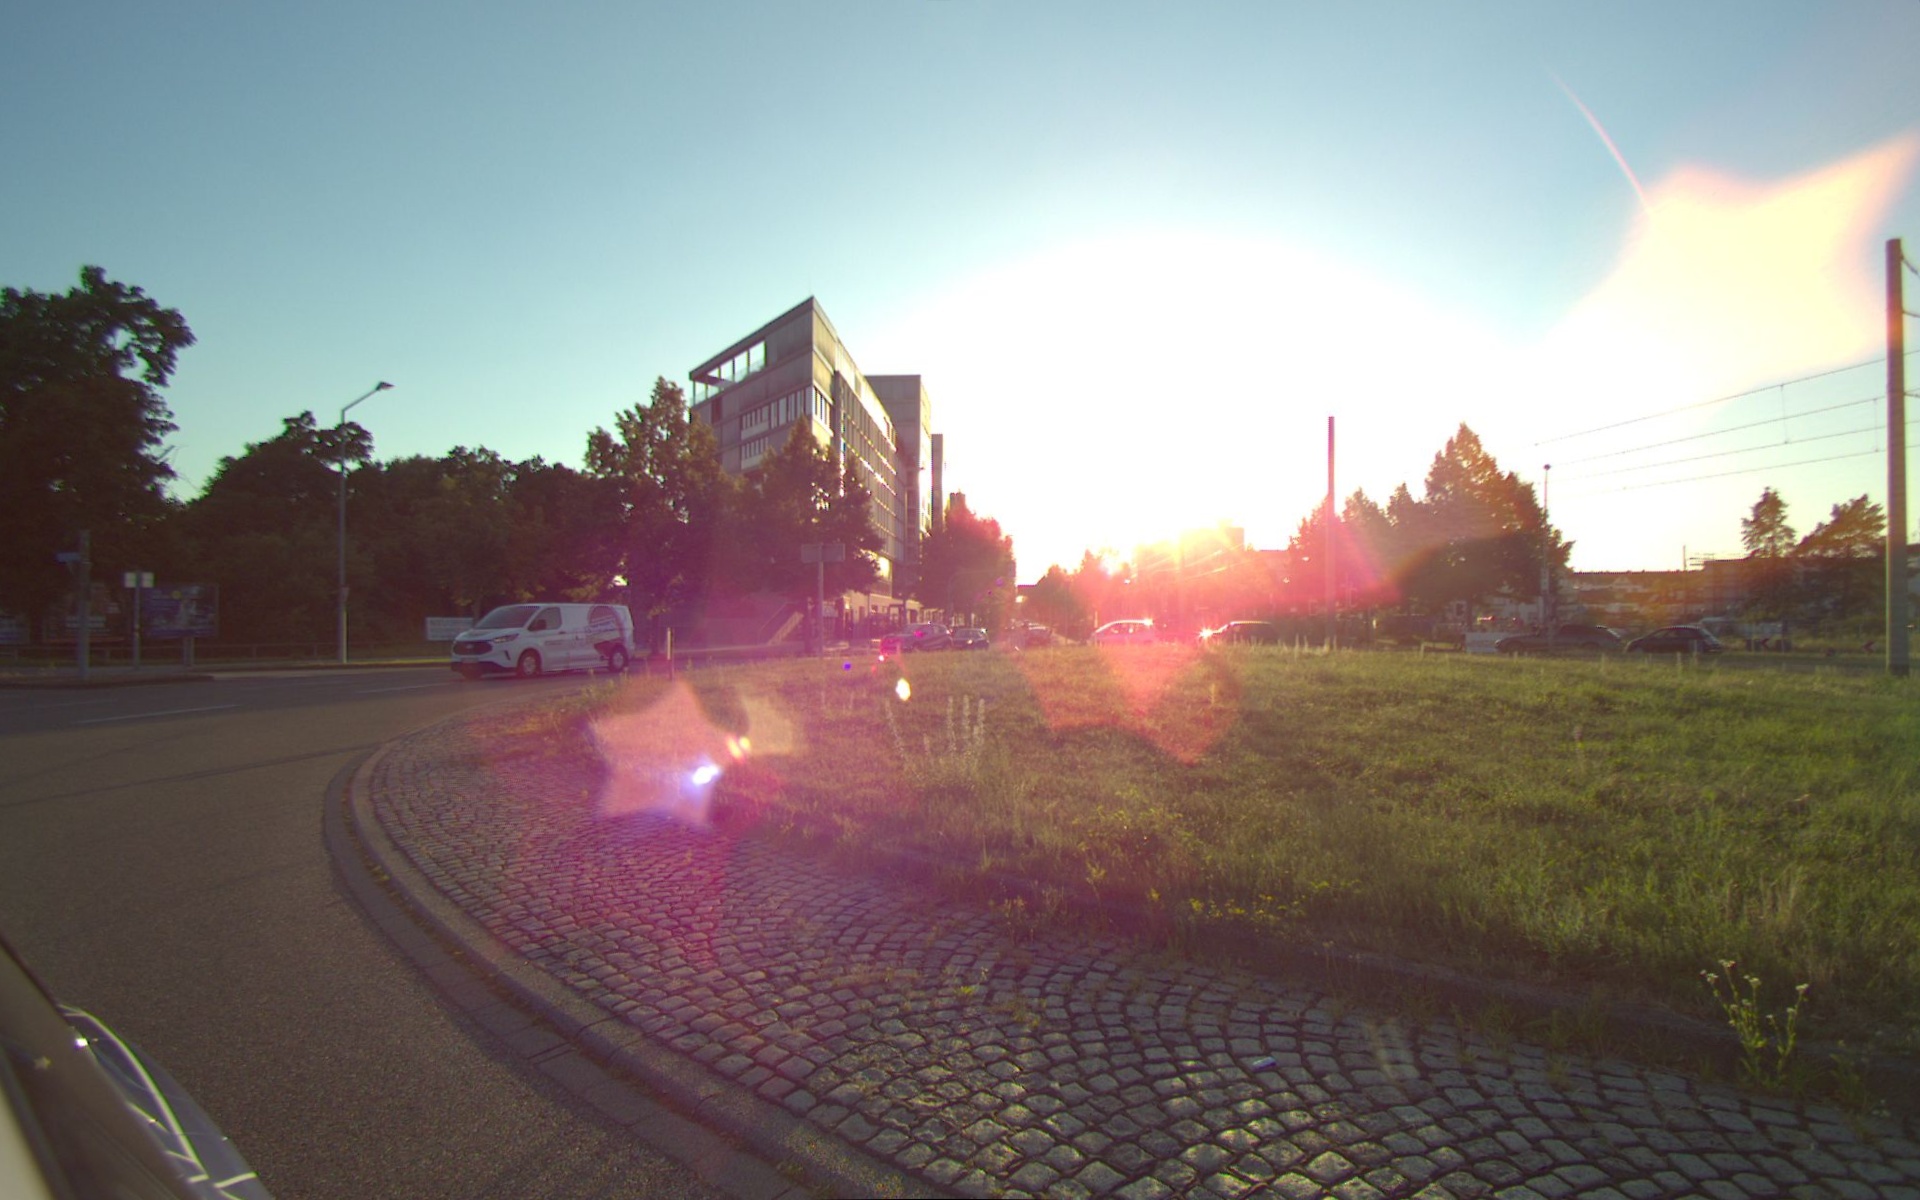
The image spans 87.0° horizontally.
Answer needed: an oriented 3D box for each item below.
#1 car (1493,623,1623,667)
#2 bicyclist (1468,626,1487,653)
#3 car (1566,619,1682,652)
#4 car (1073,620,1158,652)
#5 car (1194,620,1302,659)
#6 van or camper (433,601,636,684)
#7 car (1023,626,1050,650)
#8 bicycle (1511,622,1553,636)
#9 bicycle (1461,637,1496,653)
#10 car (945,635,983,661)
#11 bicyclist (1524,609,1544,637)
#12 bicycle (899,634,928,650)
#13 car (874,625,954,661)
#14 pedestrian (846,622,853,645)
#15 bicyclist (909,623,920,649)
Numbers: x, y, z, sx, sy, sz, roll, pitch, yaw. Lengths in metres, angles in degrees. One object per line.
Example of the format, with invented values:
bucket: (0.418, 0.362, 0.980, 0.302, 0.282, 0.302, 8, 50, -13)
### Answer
car: (25.446, 1.906, 43.163, 4.591, 1.761, 1.729, -2, -2, 38)
bicyclist: (32.022, 2.460, 62.644, 0.805, 1.653, 0.813, -1, -2, 7)
car: (30.721, 1.639, 46.943, 1.722, 1.457, 4.145, 1, -2, -34)
car: (7.270, 1.696, 47.506, 3.652, 1.476, 1.609, 0, -2, -7)
car: (13.553, 1.853, 47.816, 4.528, 1.761, 1.753, 0, -2, -4)
van or camper: (-11.154, 1.079, 27.039, 1.985, 1.972, 5.294, -1, -1, 20)
car: (5.422, 2.678, 71.551, 1.756, 1.633, 3.991, 0, -1, 7)
bicycle: (34.291, 1.755, 60.727, 0.504, 0.852, 2.140, 1, -3, -37)
bicycle: (32.107, 2.759, 62.631, 1.821, 0.988, 0.548, -1, -2, 7)
car: (0.262, 2.784, 59.408, 1.725, 1.450, 3.990, -1, -1, 8)
bicyclist: (34.306, 1.358, 60.493, 0.684, 1.646, 0.800, 1, -3, -37)
bicycle: (-2.902, 2.617, 63.125, 1.834, 1.030, 0.308, 0, -2, -6)
car: (-2.084, 1.948, 46.555, 1.740, 1.548, 3.956, -1, -1, 32)
pedestrian: (-9.851, 2.945, 89.999, 0.532, 2.029, 0.527, -1, -2, 3)
bicyclist: (-2.852, 2.250, 63.369, 0.674, 1.660, 0.685, 0, -2, -6)
